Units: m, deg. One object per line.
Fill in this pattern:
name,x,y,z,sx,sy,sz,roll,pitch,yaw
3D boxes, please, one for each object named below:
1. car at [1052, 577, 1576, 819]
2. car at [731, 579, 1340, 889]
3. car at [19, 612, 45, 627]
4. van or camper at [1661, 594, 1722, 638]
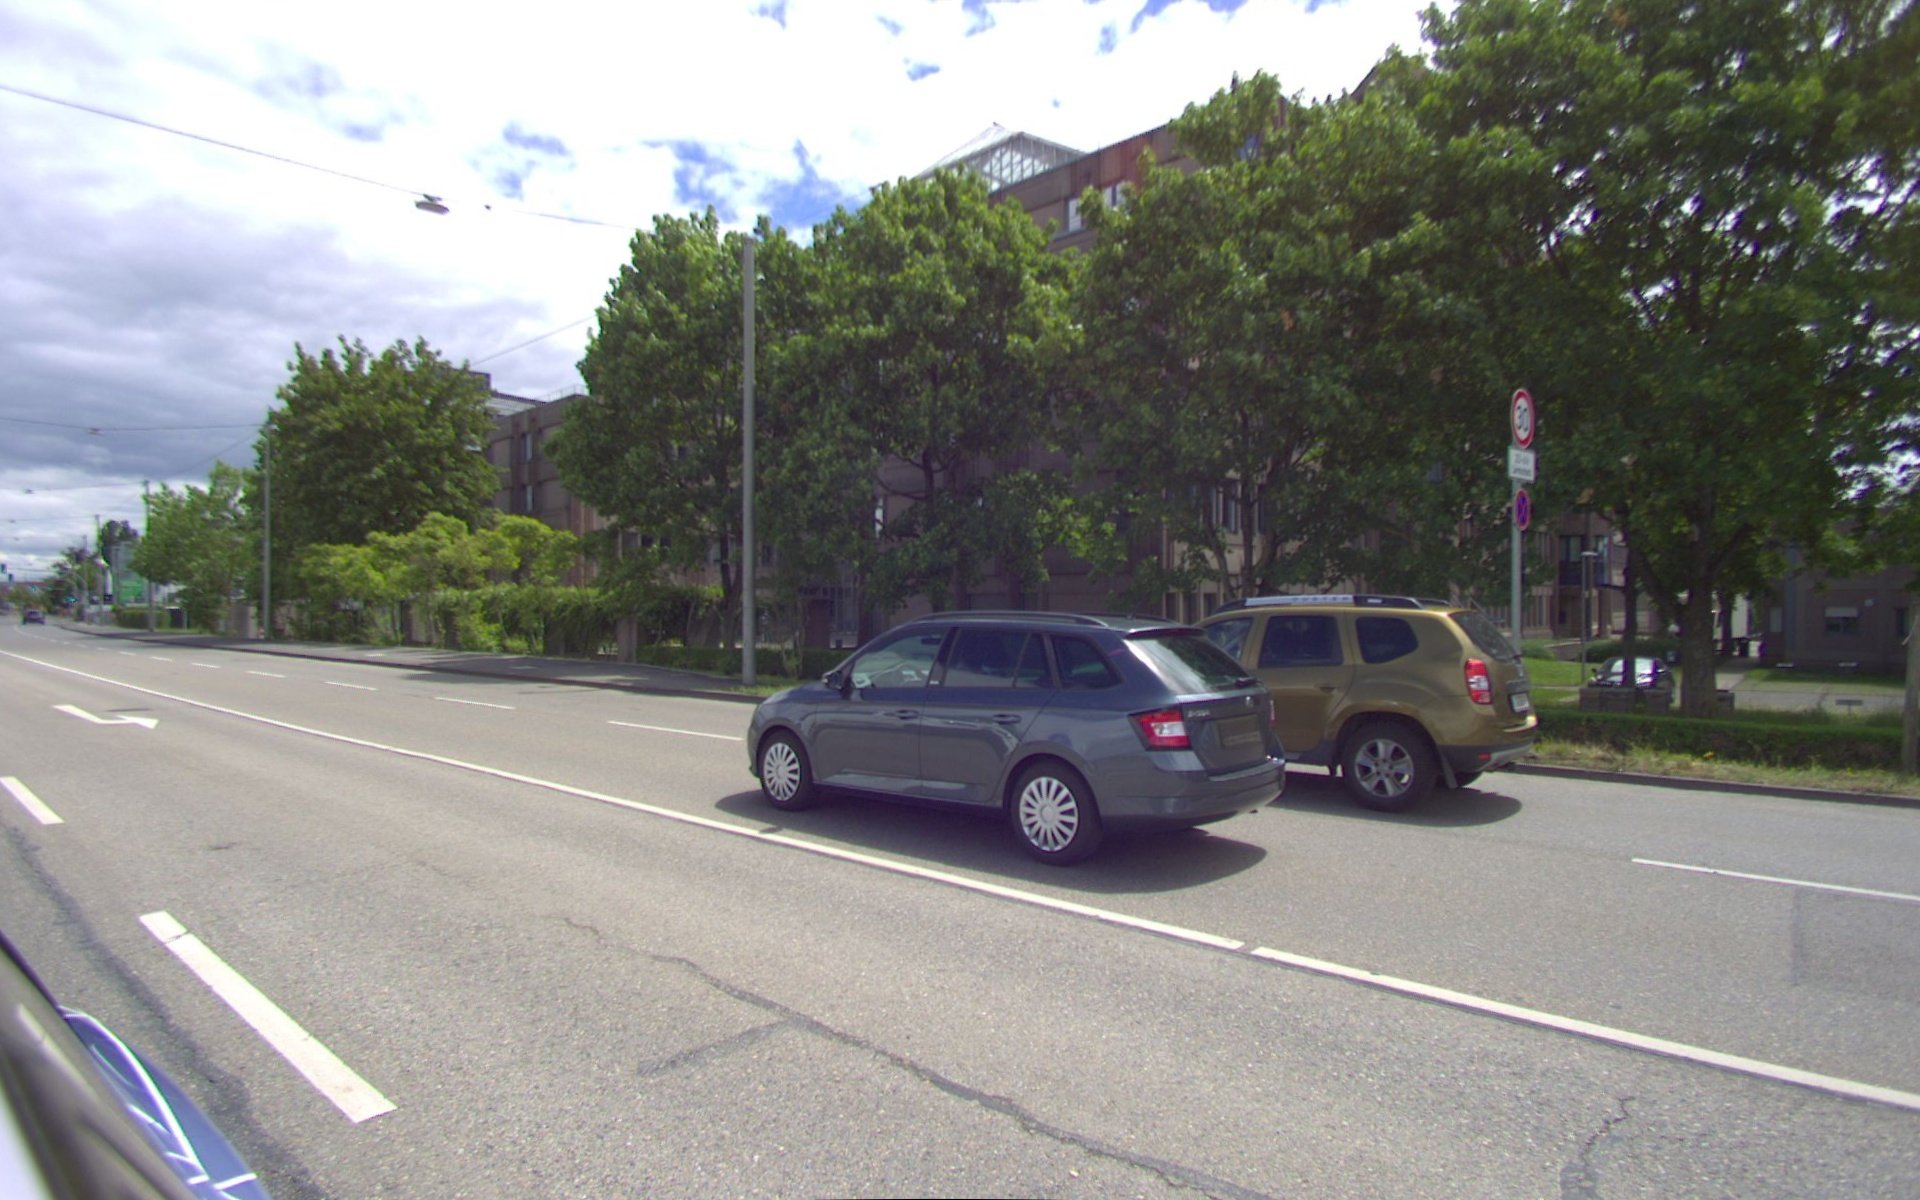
car,2.934,0.707,8.904,4.000,1.643,1.732,-1,-2,43
car,0.311,0.751,6.987,4.006,1.536,1.651,-2,-4,41
car,-105.062,2.179,114.526,4.572,1.627,1.847,0,0,43
van or camper,37.670,0.793,52.050,2.355,2.120,5.138,0,0,38
